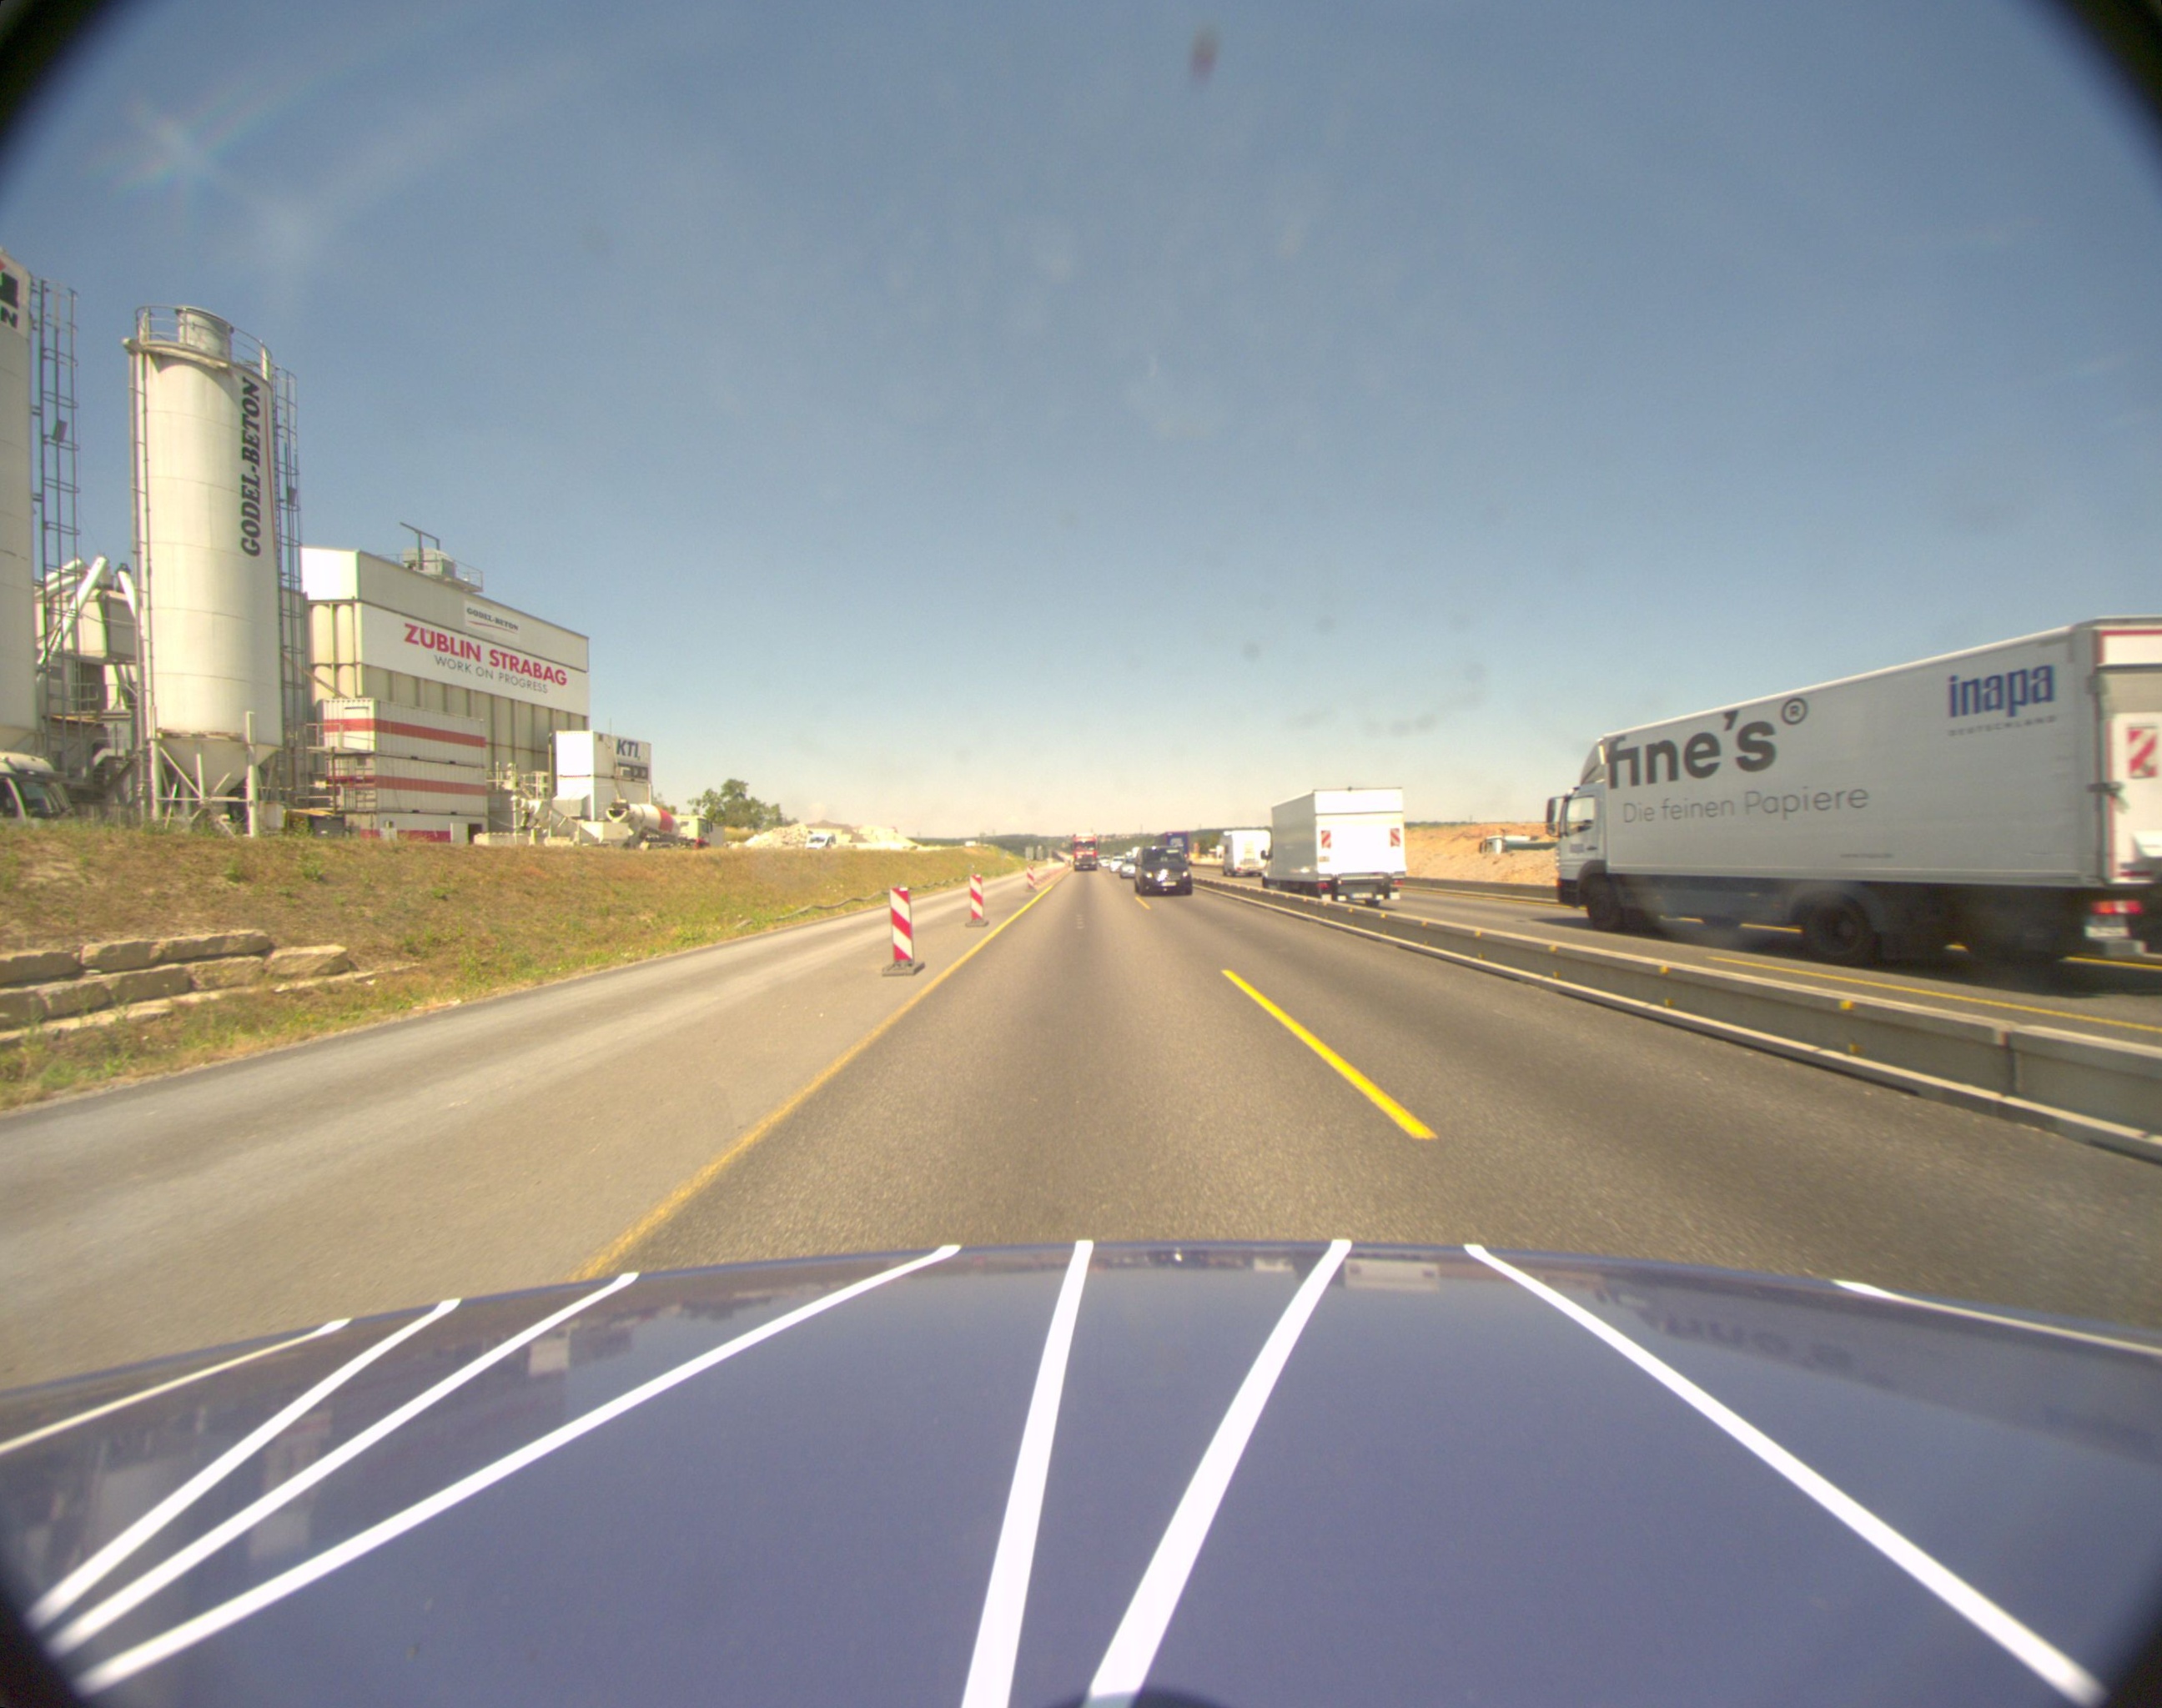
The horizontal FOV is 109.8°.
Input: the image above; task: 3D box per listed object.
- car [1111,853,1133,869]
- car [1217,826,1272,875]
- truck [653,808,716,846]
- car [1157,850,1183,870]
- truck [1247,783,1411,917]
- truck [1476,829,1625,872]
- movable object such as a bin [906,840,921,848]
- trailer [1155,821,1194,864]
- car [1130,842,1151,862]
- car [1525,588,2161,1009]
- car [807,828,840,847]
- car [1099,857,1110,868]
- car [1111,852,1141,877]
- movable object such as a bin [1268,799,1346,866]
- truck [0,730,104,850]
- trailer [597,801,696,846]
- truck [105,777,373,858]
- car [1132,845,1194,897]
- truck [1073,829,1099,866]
[{"bbox_3d":[3.810,0.613,71.066,1.875,1.390,4.030,-2,1,1],"label":"car"},{"bbox_3d":[10.515,-0.232,49.337,2.257,2.938,5.848,-2,1,1],"label":"car"},{"bbox_3d":[-27.851,-1.851,53.578,2.021,2.530,4.041,-2,1,4],"label":"truck"},{"bbox_3d":[7.675,0.501,65.961,1.766,1.565,4.362,-2,0,2],"label":"car"},{"bbox_3d":[6.798,-0.134,22.004,2.277,3.131,7.312,-2,1,0],"label":"truck"},{"bbox_3d":[25.315,-0.218,41.656,2.568,2.046,8.802,-2,1,-1],"label":"truck"},{"bbox_3d":[-15.487,-0.939,70.196,0.838,0.678,2.249,-2,1,1],"label":"movable object such as a bin"},{"bbox_3d":[10.712,-1.351,88.668,2.993,4.569,12.882,-2,1,1],"label":"trailer"},{"bbox_3d":[7.156,-0.197,92.147,2.040,2.329,6.196,-2,0,1],"label":"car"},{"bbox_3d":[10.168,-0.516,10.830,2.915,3.718,8.091,-2,0,1],"label":"car"},{"bbox_3d":[-25.120,-1.594,74.233,1.990,1.752,3.601,-2,1,0],"label":"car"},{"bbox_3d":[3.537,1.266,114.368,1.601,1.390,3.695,-2,1,1],"label":"car"},{"bbox_3d":[3.003,0.695,51.404,1.804,1.499,4.100,-2,0,0],"label":"car"},{"bbox_3d":[25.422,-2.363,85.712,7.378,7.073,4.081,-2,1,1],"label":"movable object such as a bin"},{"bbox_3d":[-26.143,-1.343,16.519,5.317,2.530,2.897,-3,1,-36],"label":"truck"},{"bbox_3d":[-28.166,-1.899,49.693,1.998,2.629,6.937,-2,1,4],"label":"trailer"},{"bbox_3d":[-34.735,-1.454,31.465,9.090,2.852,2.460,-2,1,6],"label":"truck"},{"bbox_3d":[3.158,0.591,30.353,1.879,1.840,5.478,-2,1,1],"label":"car"},{"bbox_3d":[0.644,-0.709,84.556,2.537,3.798,9.481,-2,1,1],"label":"truck"}]
